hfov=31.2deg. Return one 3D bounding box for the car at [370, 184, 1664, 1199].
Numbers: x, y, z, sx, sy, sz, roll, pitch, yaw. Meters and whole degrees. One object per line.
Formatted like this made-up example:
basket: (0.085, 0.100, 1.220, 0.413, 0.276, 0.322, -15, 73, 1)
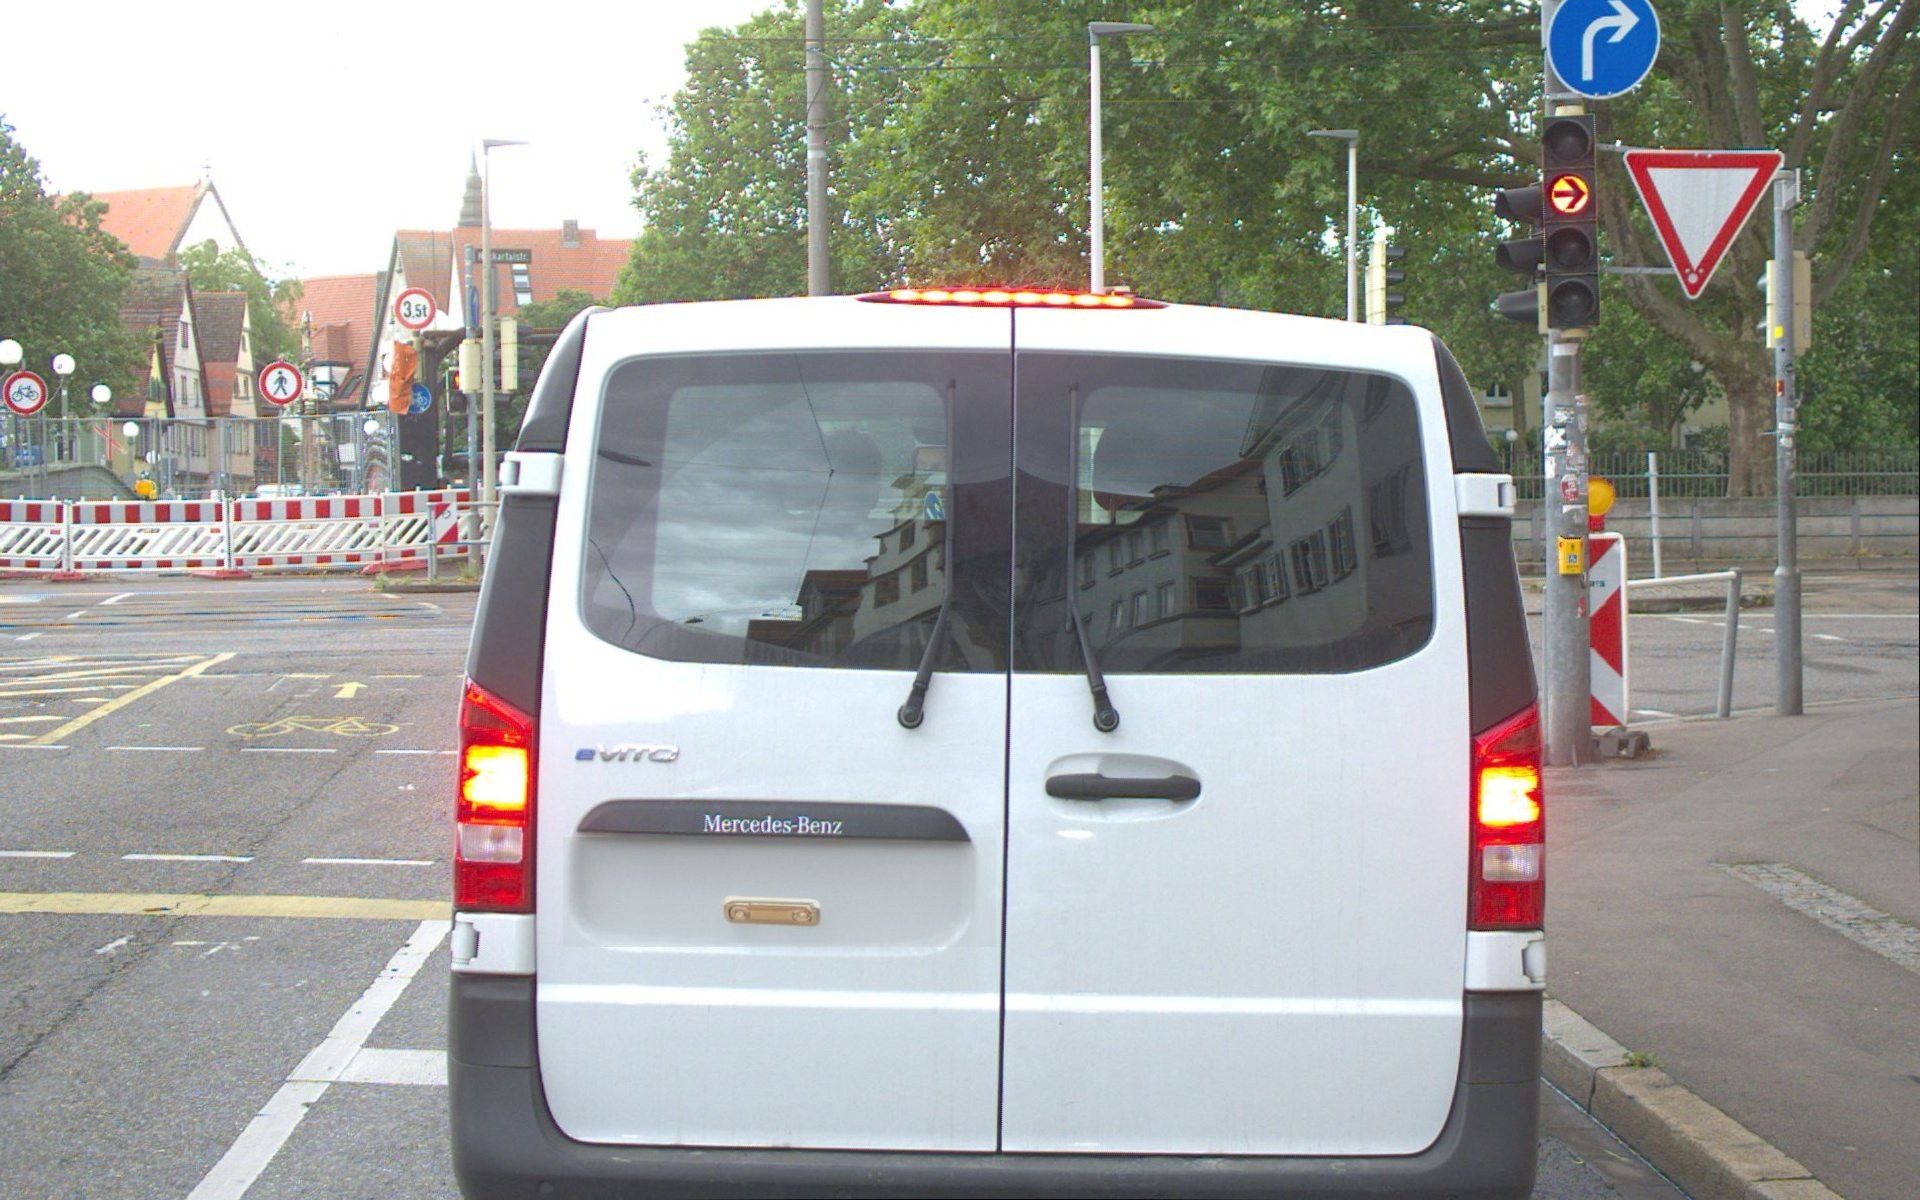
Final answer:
car: (0.053, 0.288, 7.596, 1.951, 2.006, 4.699, 1, 2, -1)
